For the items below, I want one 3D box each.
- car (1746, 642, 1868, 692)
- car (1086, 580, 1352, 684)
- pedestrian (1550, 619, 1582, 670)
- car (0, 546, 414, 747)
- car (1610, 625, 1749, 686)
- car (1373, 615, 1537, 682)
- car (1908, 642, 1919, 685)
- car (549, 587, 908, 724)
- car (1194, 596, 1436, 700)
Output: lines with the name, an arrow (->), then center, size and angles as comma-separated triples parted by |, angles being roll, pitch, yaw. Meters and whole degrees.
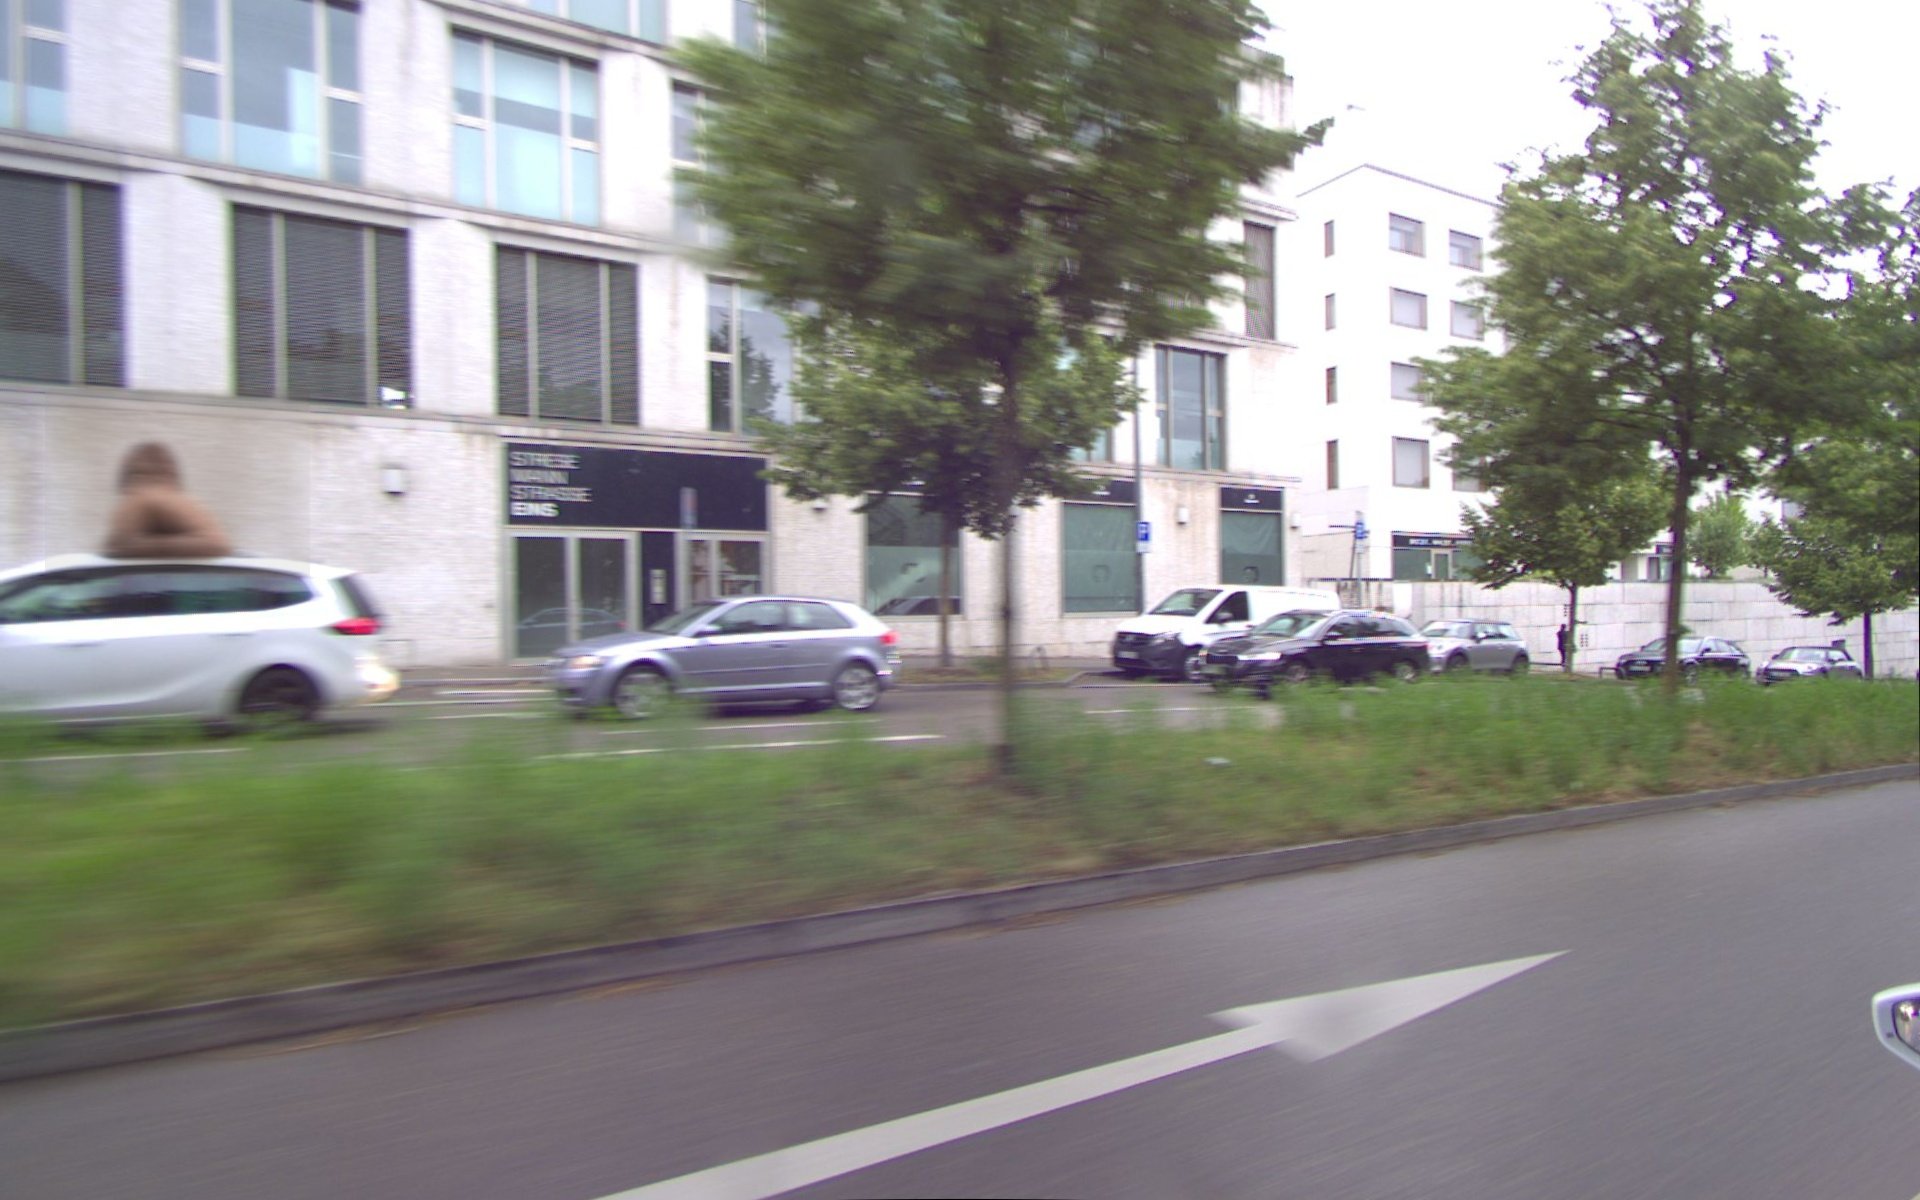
car -> 27.609, 2.145, 32.727 | 3.810, 1.464, 1.688 | 1, 1, -28
car -> 5.243, 0.641, 20.100 | 5.200, 1.840, 2.111 | 2, -1, -31
pedestrian -> 21.532, 1.571, 35.684 | 0.683, 1.798, 0.715 | 2, -1, -30
car -> -7.676, 0.394, 9.214 | 4.620, 1.622, 1.820 | 2, -1, -30
car -> 20.457, 1.554, 28.528 | 3.969, 1.602, 1.687 | 2, 0, -29
car -> 11.531, 1.133, 23.370 | 3.656, 1.403, 1.686 | 2, 0, -31
car -> 39.009, 2.555, 39.216 | 4.310, 1.641, 1.695 | 4, -2, -29
car -> -2.760, 0.615, 12.204 | 3.949, 1.429, 1.633 | 2, 0, -30
car -> 6.081, 0.752, 17.144 | 3.967, 1.602, 1.688 | 0, 0, -28
